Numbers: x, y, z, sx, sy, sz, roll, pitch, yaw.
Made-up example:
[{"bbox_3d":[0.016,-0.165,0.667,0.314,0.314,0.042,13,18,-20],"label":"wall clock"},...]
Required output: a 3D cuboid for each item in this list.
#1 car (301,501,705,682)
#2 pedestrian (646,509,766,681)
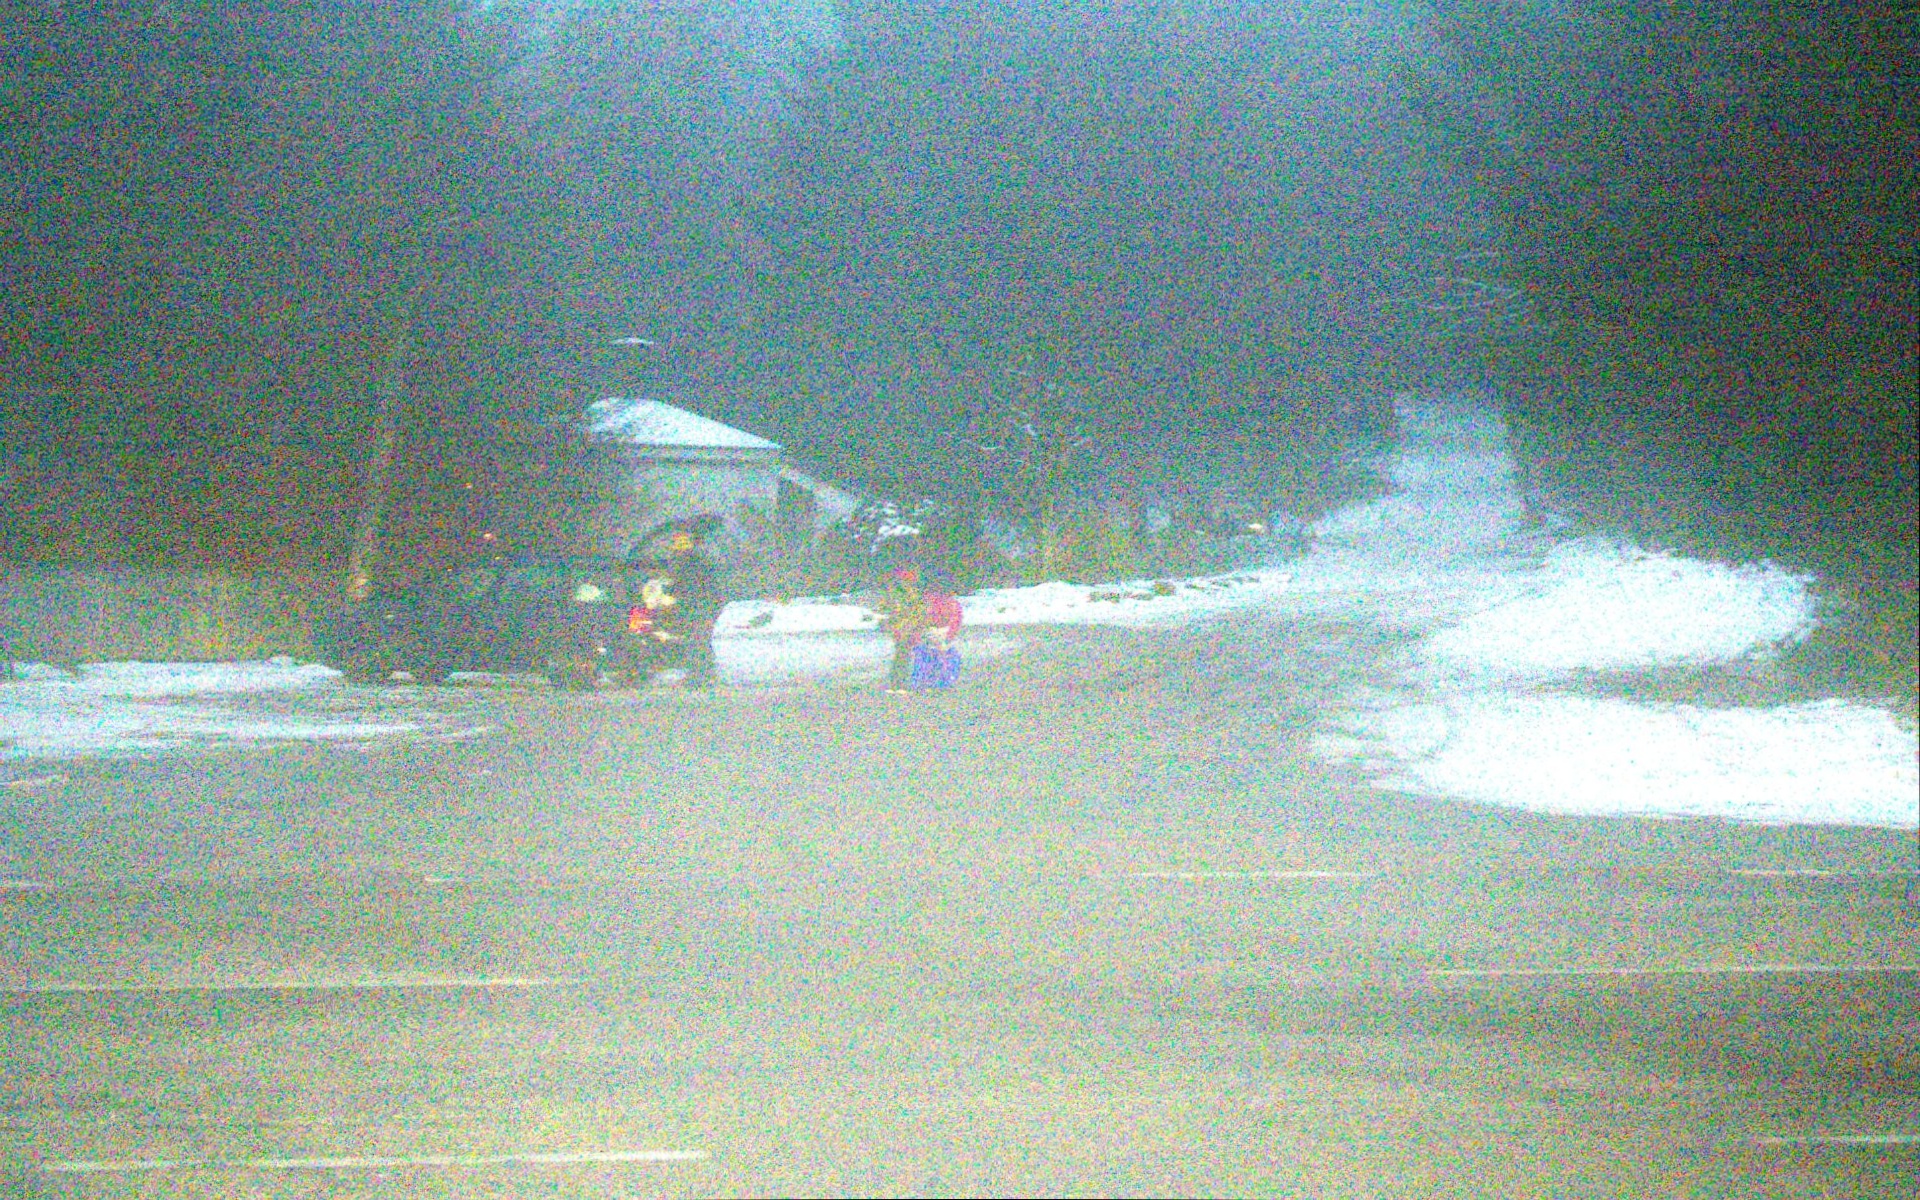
[{"bbox_3d":[-5.037,-0.092,38.108,3.950,1.875,1.999,1,0,14],"label":"car"},{"bbox_3d":[-2.737,-0.052,37.119,0.961,1.822,0.924,1,0,19],"label":"pedestrian"}]
